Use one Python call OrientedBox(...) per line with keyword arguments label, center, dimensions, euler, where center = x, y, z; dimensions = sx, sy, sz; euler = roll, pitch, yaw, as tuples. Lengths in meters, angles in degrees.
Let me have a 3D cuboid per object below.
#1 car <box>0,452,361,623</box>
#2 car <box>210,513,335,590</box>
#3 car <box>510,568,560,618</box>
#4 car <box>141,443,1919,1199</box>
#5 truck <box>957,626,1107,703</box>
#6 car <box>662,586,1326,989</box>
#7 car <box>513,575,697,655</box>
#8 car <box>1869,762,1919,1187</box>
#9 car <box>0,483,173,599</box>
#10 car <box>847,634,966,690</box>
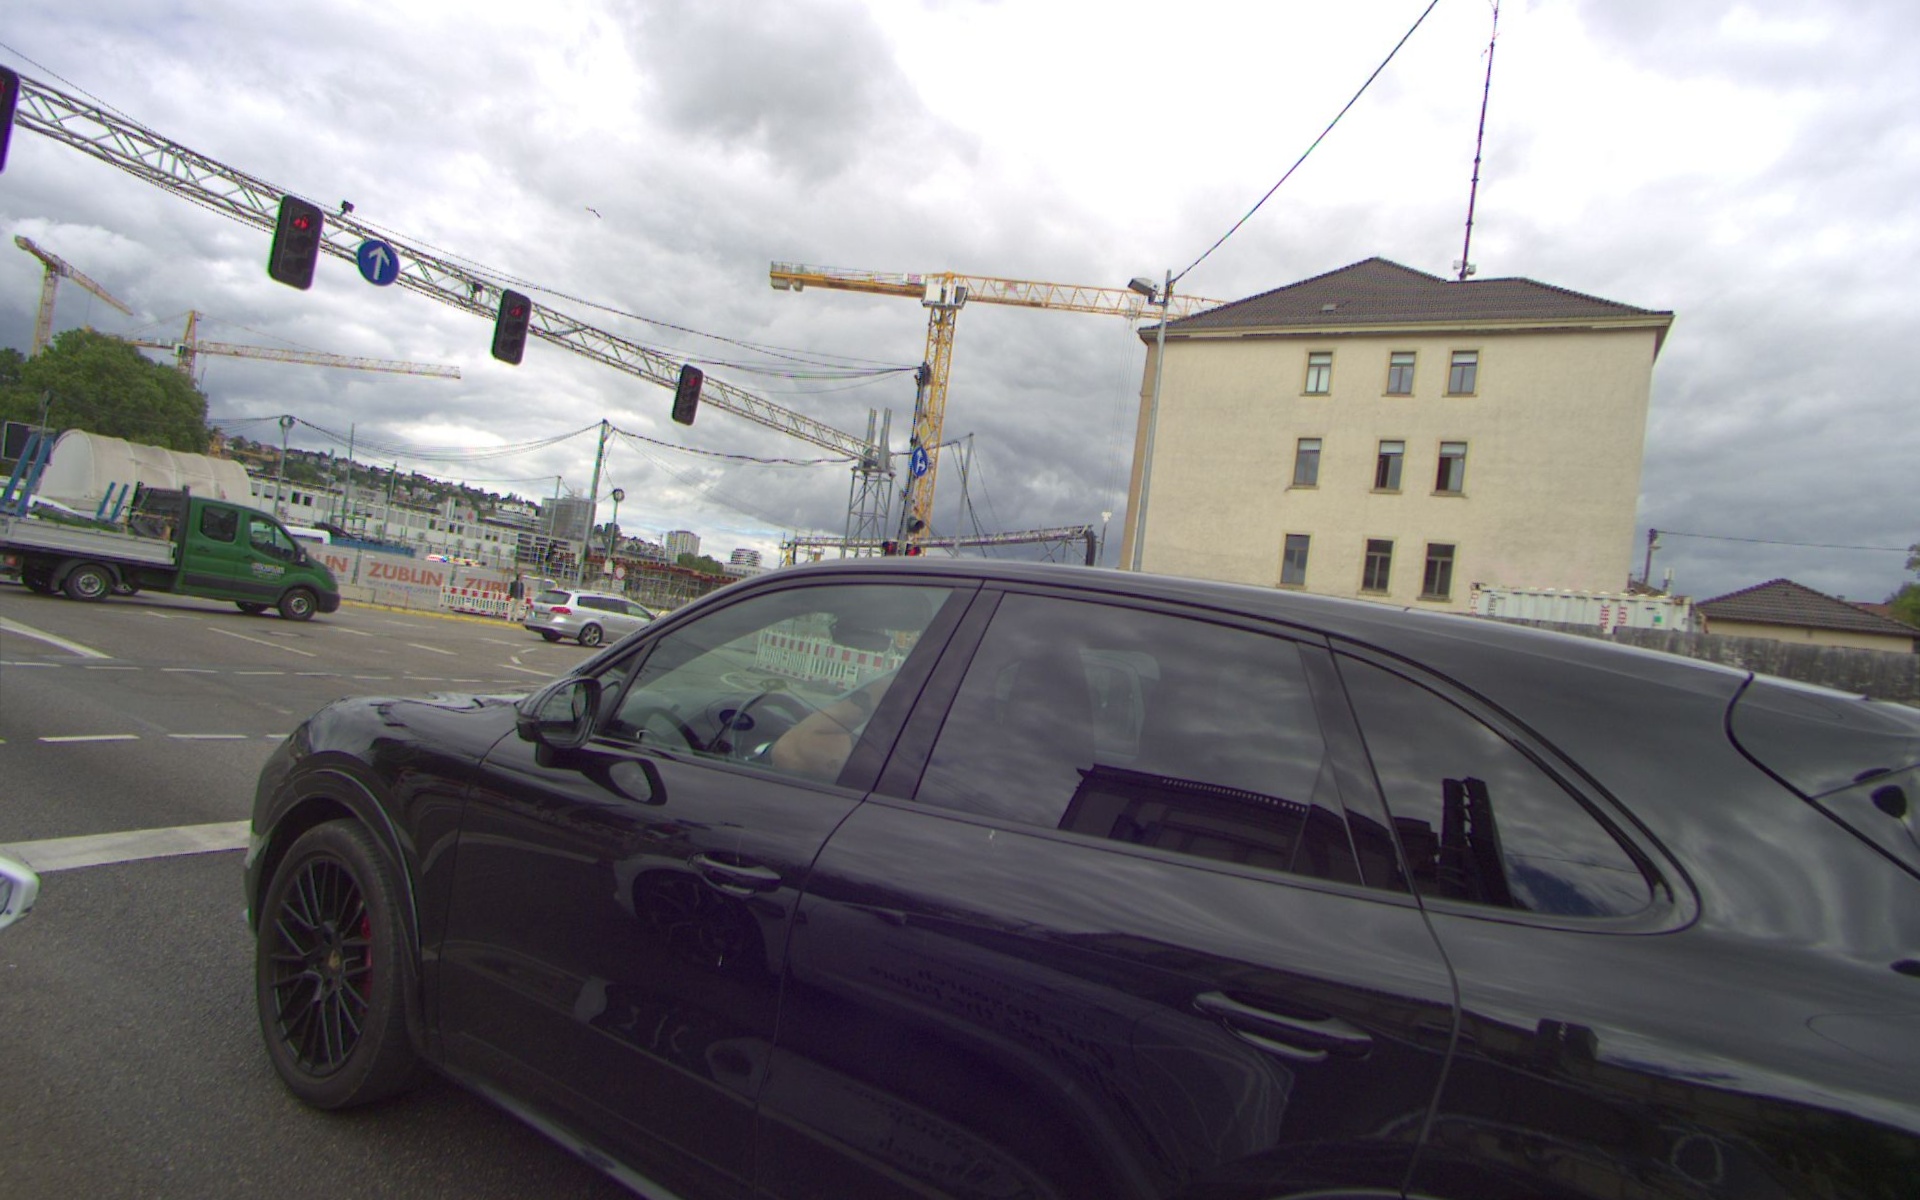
OrientedBox(label="car", center=(-15.184, -1.057, 19.356), dimensions=(2.263, 2.331, 5.776), euler=(7, -2, 27))
OrientedBox(label="car", center=(-29.570, -2.048, 43.360), dimensions=(1.660, 2.692, 3.979), euler=(6, -2, 45))
OrientedBox(label="car", center=(-19.160, -0.329, 45.290), dimensions=(1.757, 1.976, 3.108), euler=(8, -2, -25))
OrientedBox(label="car", center=(-0.037, 0.679, 2.662), dimensions=(4.410, 1.735, 1.828), euler=(6, -2, 32))
OrientedBox(label="truck", center=(3.649, 3.204, 48.262), dimensions=(2.586, 2.835, 8.991), euler=(7, -3, 36))
OrientedBox(label="car", center=(0.125, 0.981, 6.659), dimensions=(3.934, 1.644, 1.679), euler=(6, -2, 32))
OrientedBox(label="car", center=(-9.742, 0.479, 28.009), dimensions=(1.653, 1.643, 4.720), euler=(6, -2, 31))
OrientedBox(label="car", center=(5.777, 1.683, 2.567), dimensions=(4.729, 1.644, 1.828), euler=(6, -2, 32))
OrientedBox(label="car", center=(-18.606, -1.264, 19.911), dimensions=(1.799, 1.903, 4.278), euler=(6, -2, 29))
OrientedBox(label="car", center=(-1.968, 2.420, 38.678), dimensions=(1.988, 1.643, 4.816), euler=(6, -2, 33))
